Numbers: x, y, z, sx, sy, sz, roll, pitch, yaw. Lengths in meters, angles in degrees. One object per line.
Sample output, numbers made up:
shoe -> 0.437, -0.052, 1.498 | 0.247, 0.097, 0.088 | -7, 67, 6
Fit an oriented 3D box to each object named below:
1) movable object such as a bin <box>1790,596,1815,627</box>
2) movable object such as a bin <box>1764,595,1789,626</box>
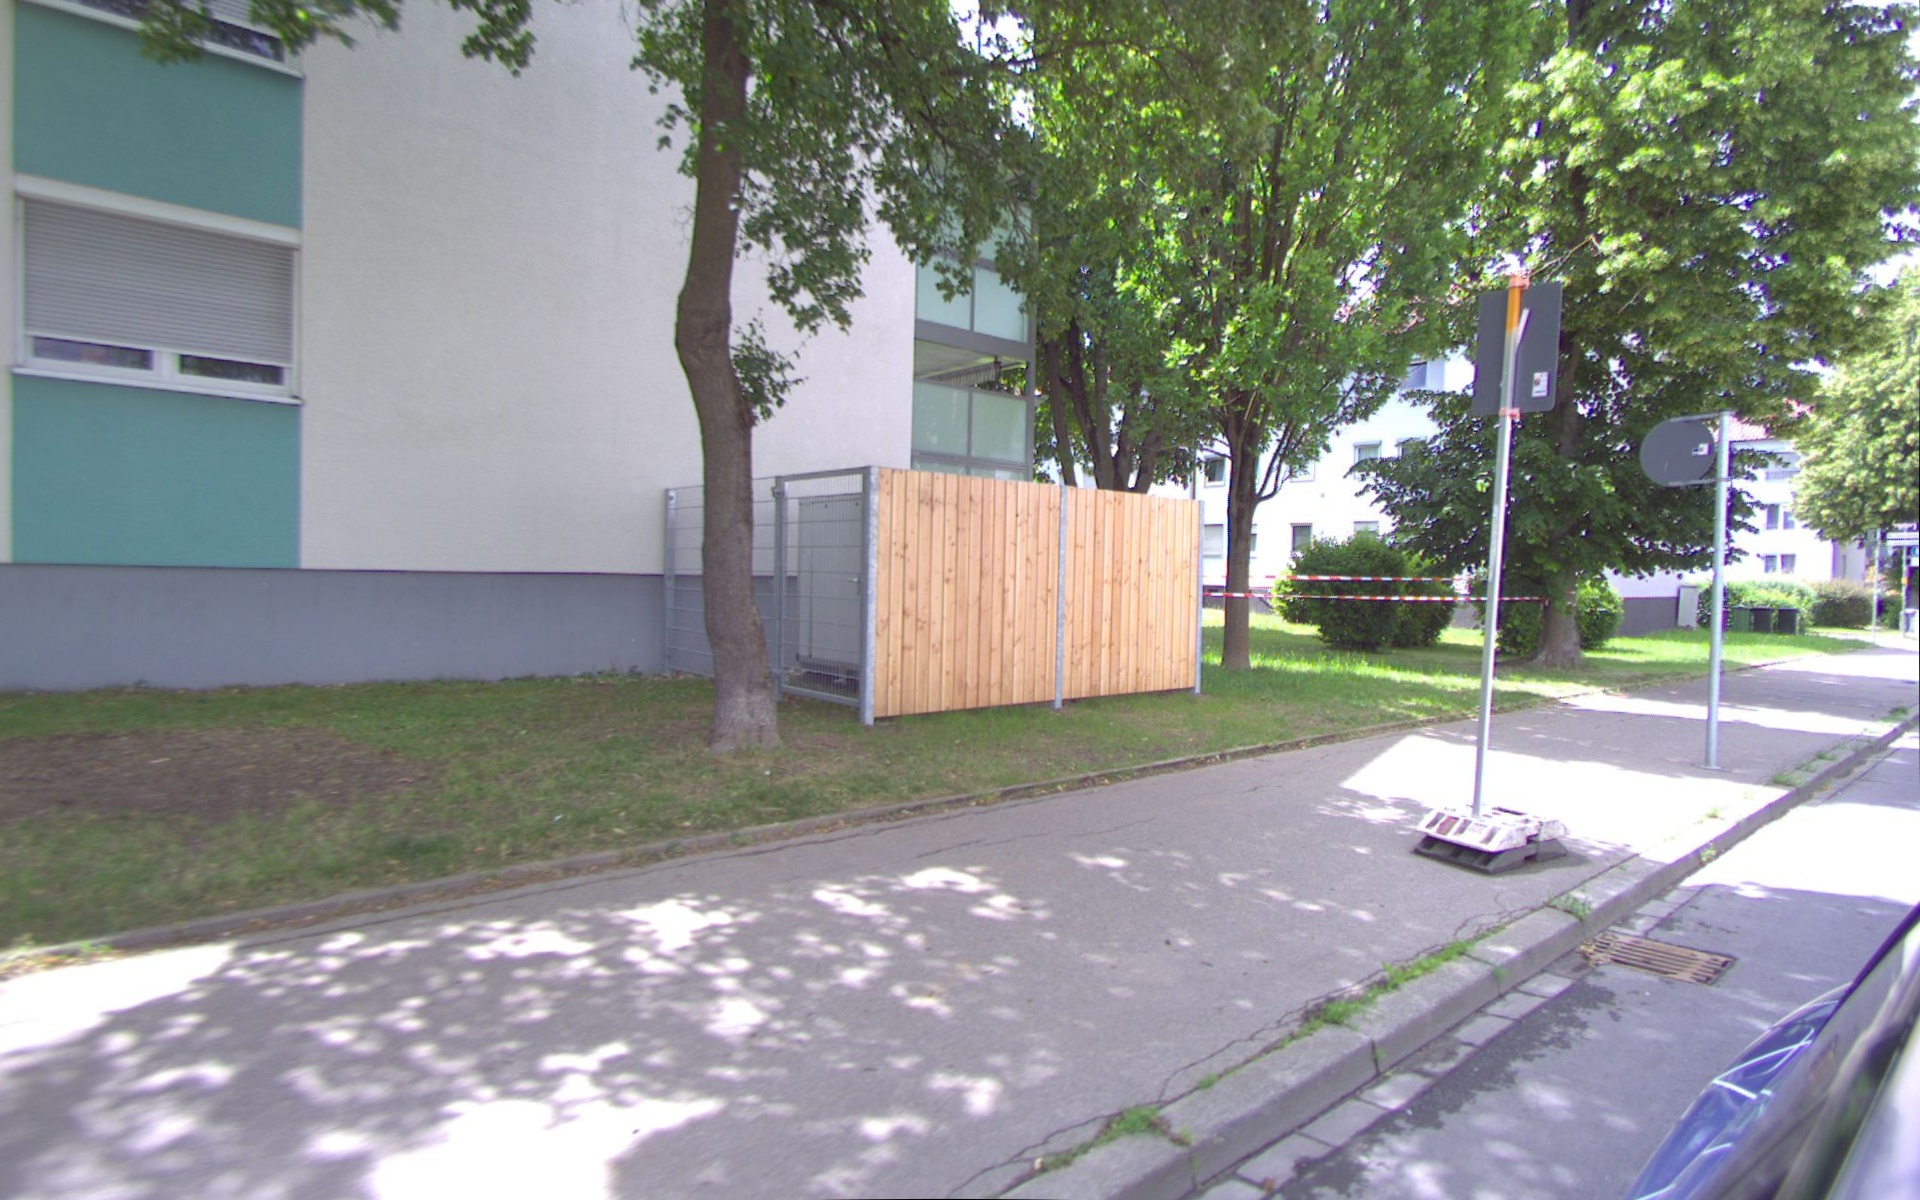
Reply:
movable object such as a bin -> 27.193, 0.368, 32.661 | 0.570, 0.966, 0.497 | 0, 3, -41
movable object such as a bin -> 26.705, 0.340, 33.106 | 0.541, 0.959, 0.501 | 0, 3, -41
